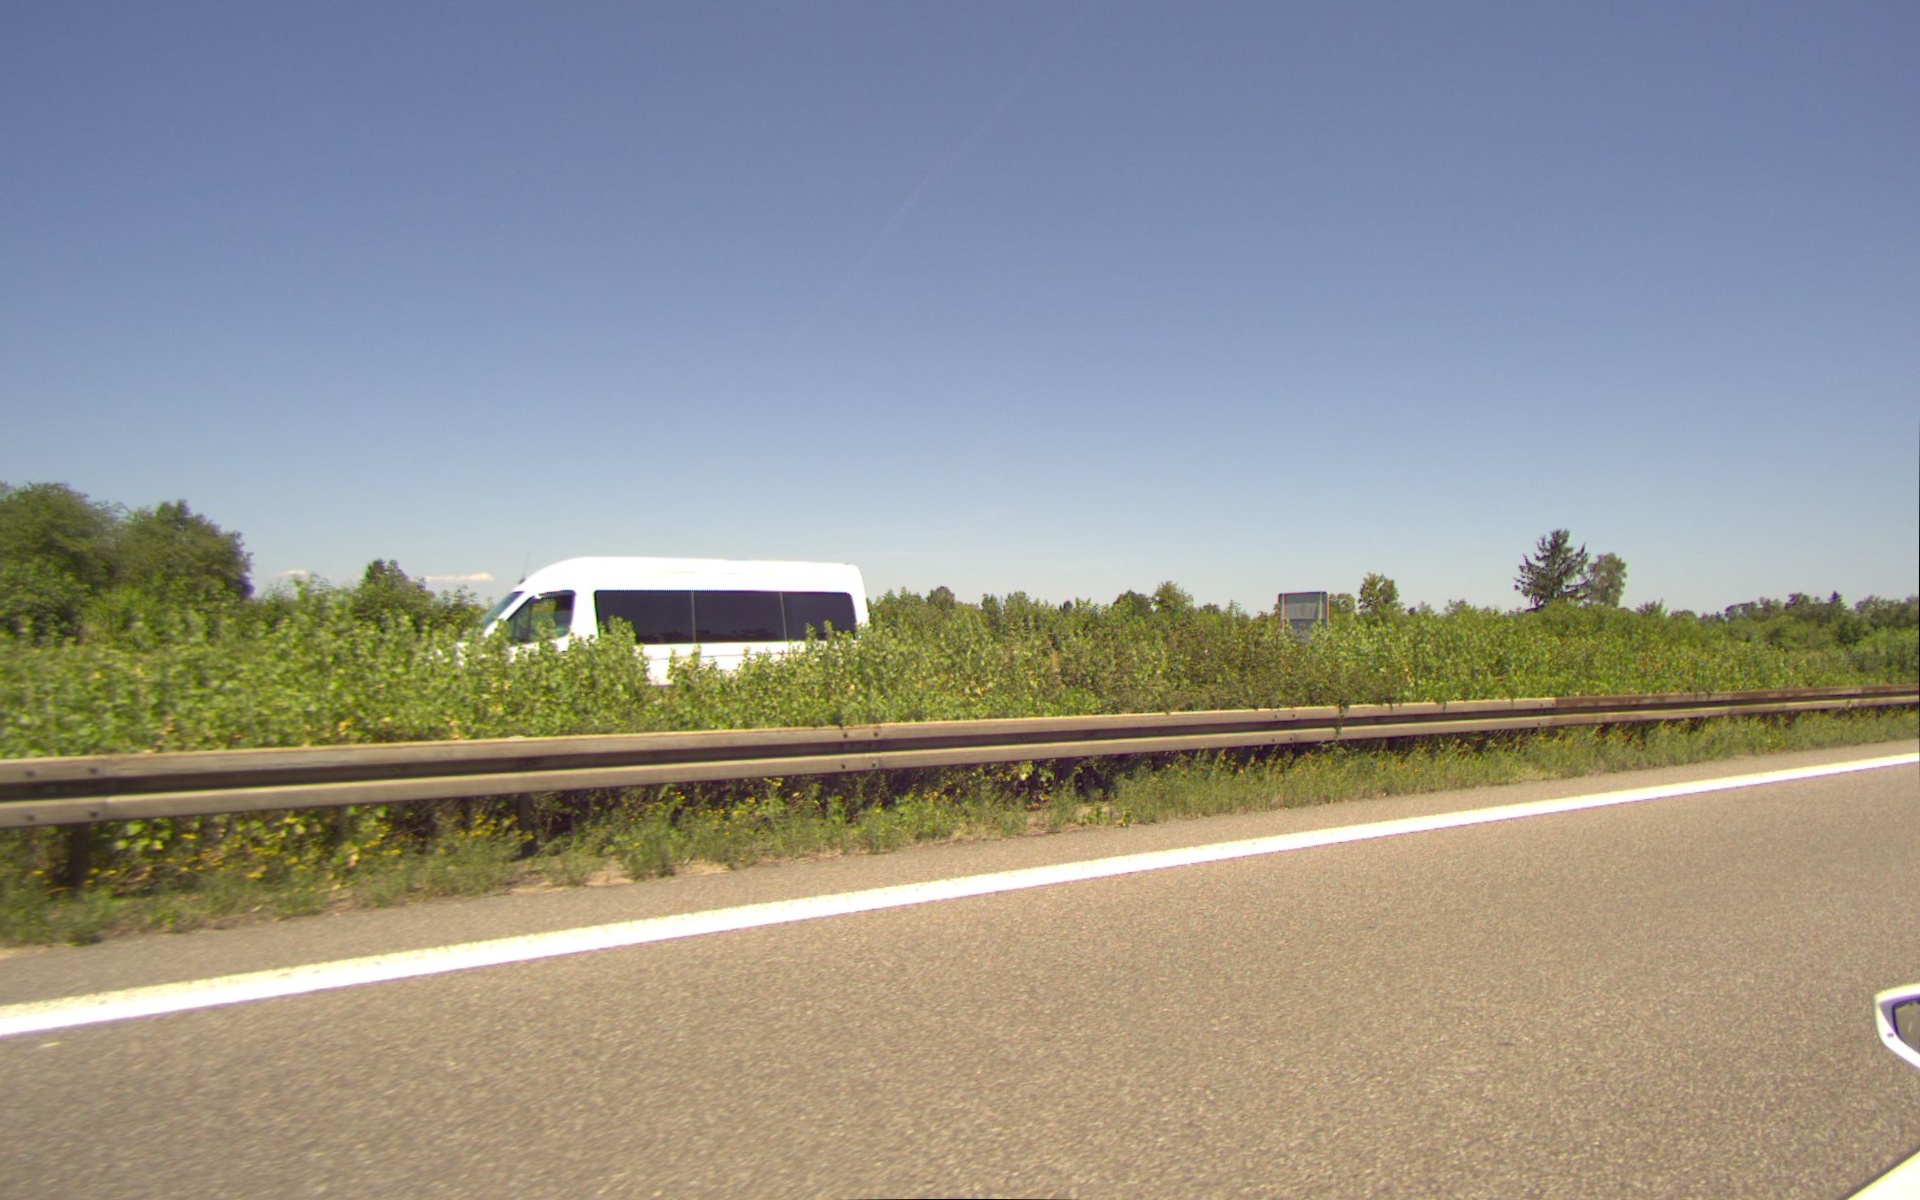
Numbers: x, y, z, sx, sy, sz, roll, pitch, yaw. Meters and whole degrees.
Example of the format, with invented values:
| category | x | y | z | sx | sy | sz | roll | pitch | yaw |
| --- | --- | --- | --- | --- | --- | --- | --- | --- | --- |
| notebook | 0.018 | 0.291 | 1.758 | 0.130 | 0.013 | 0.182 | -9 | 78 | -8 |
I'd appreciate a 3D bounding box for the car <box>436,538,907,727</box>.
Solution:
| category | x | y | z | sx | sy | sz | roll | pitch | yaw |
| --- | --- | --- | --- | --- | --- | --- | --- | --- | --- |
| car | -4.254 | 0.486 | 15.475 | 6.655 | 2.426 | 2.070 | 2 | 0 | -31 |
